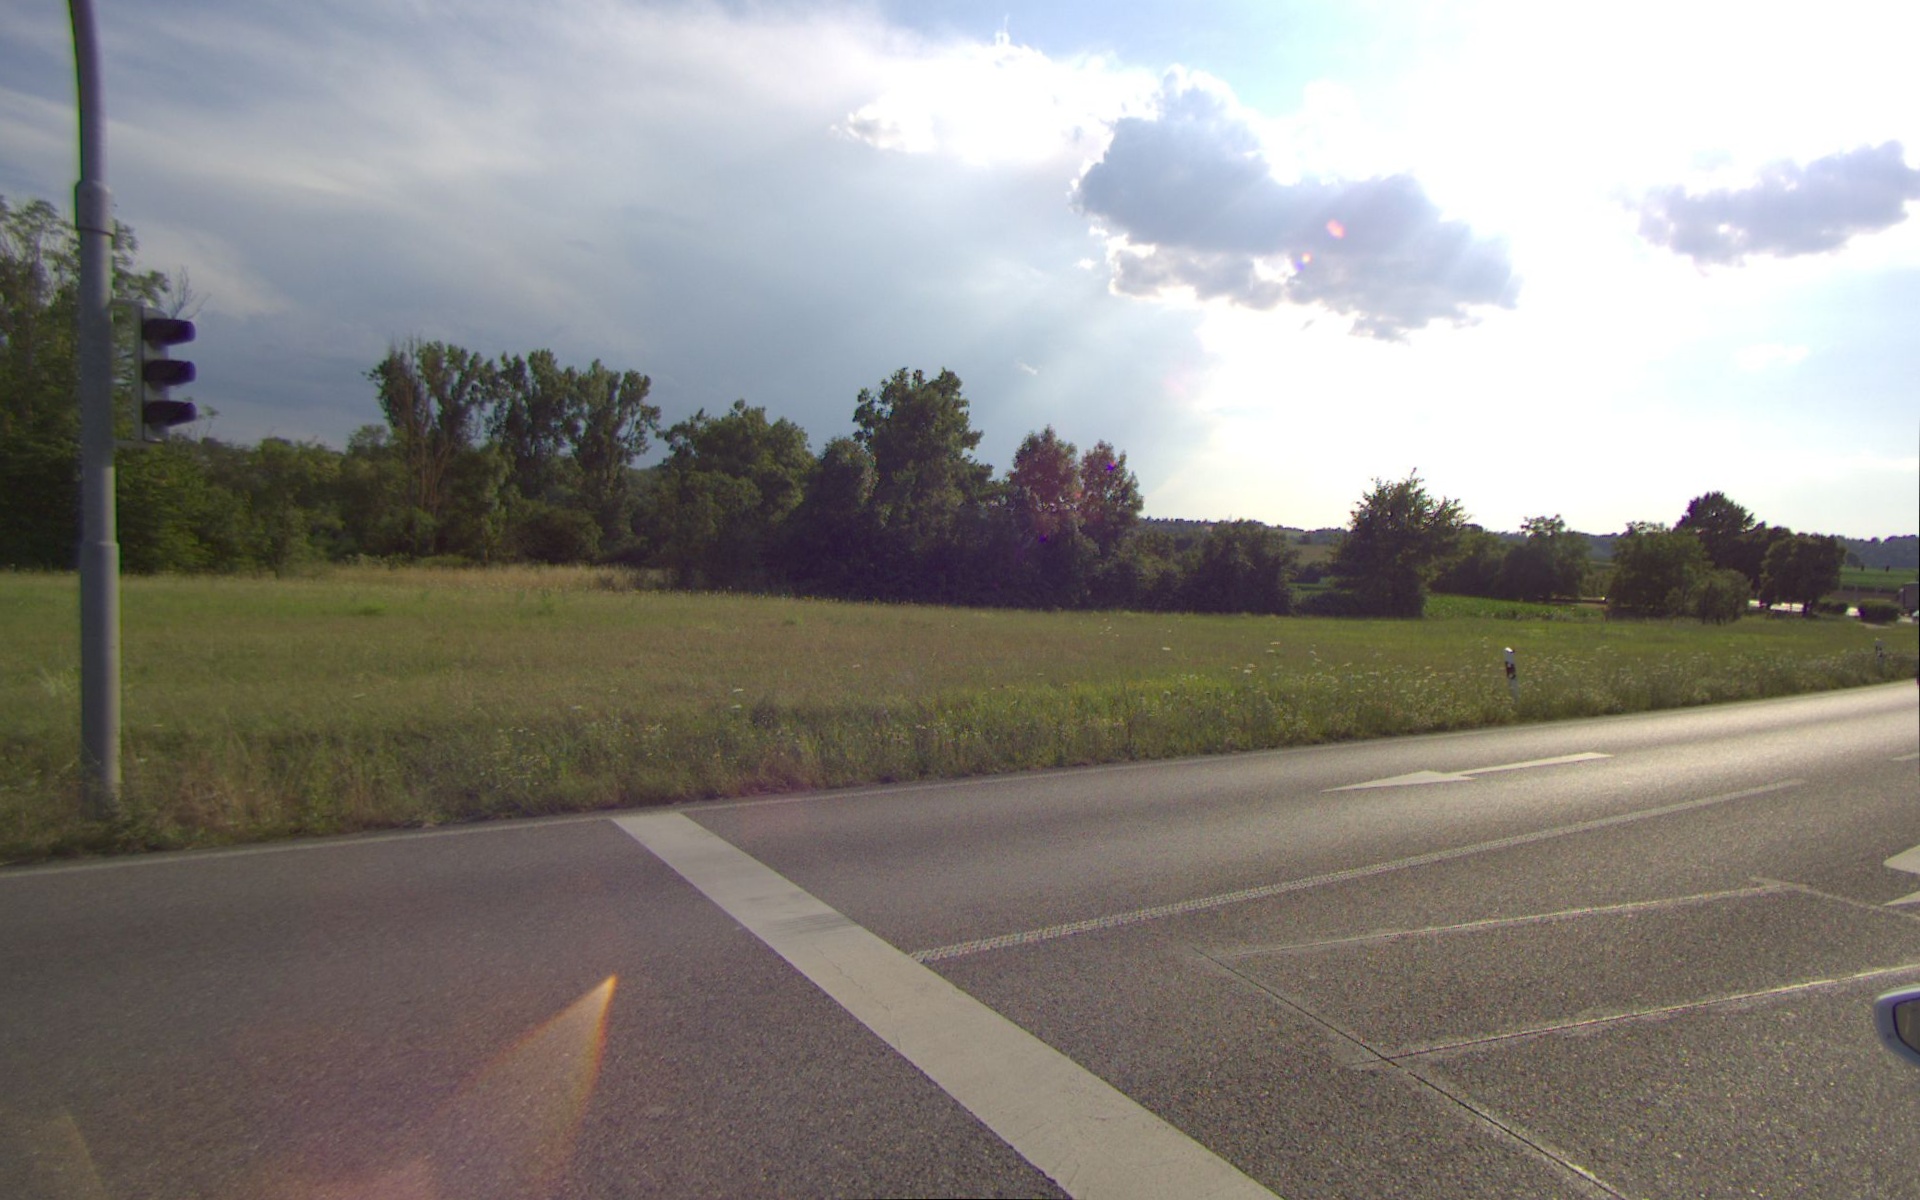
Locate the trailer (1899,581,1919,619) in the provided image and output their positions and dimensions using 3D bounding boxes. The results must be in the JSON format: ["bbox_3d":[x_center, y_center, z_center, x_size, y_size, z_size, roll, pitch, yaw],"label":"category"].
[{"bbox_3d":[112.875,0.099,115.706,3.325,4.409,14.267,2,1,29],"label":"trailer"}]

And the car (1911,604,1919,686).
[{"bbox_3d":[24.343,1.072,23.971,4.295,1.907,1.712,1,-1,-37],"label":"car"}]
